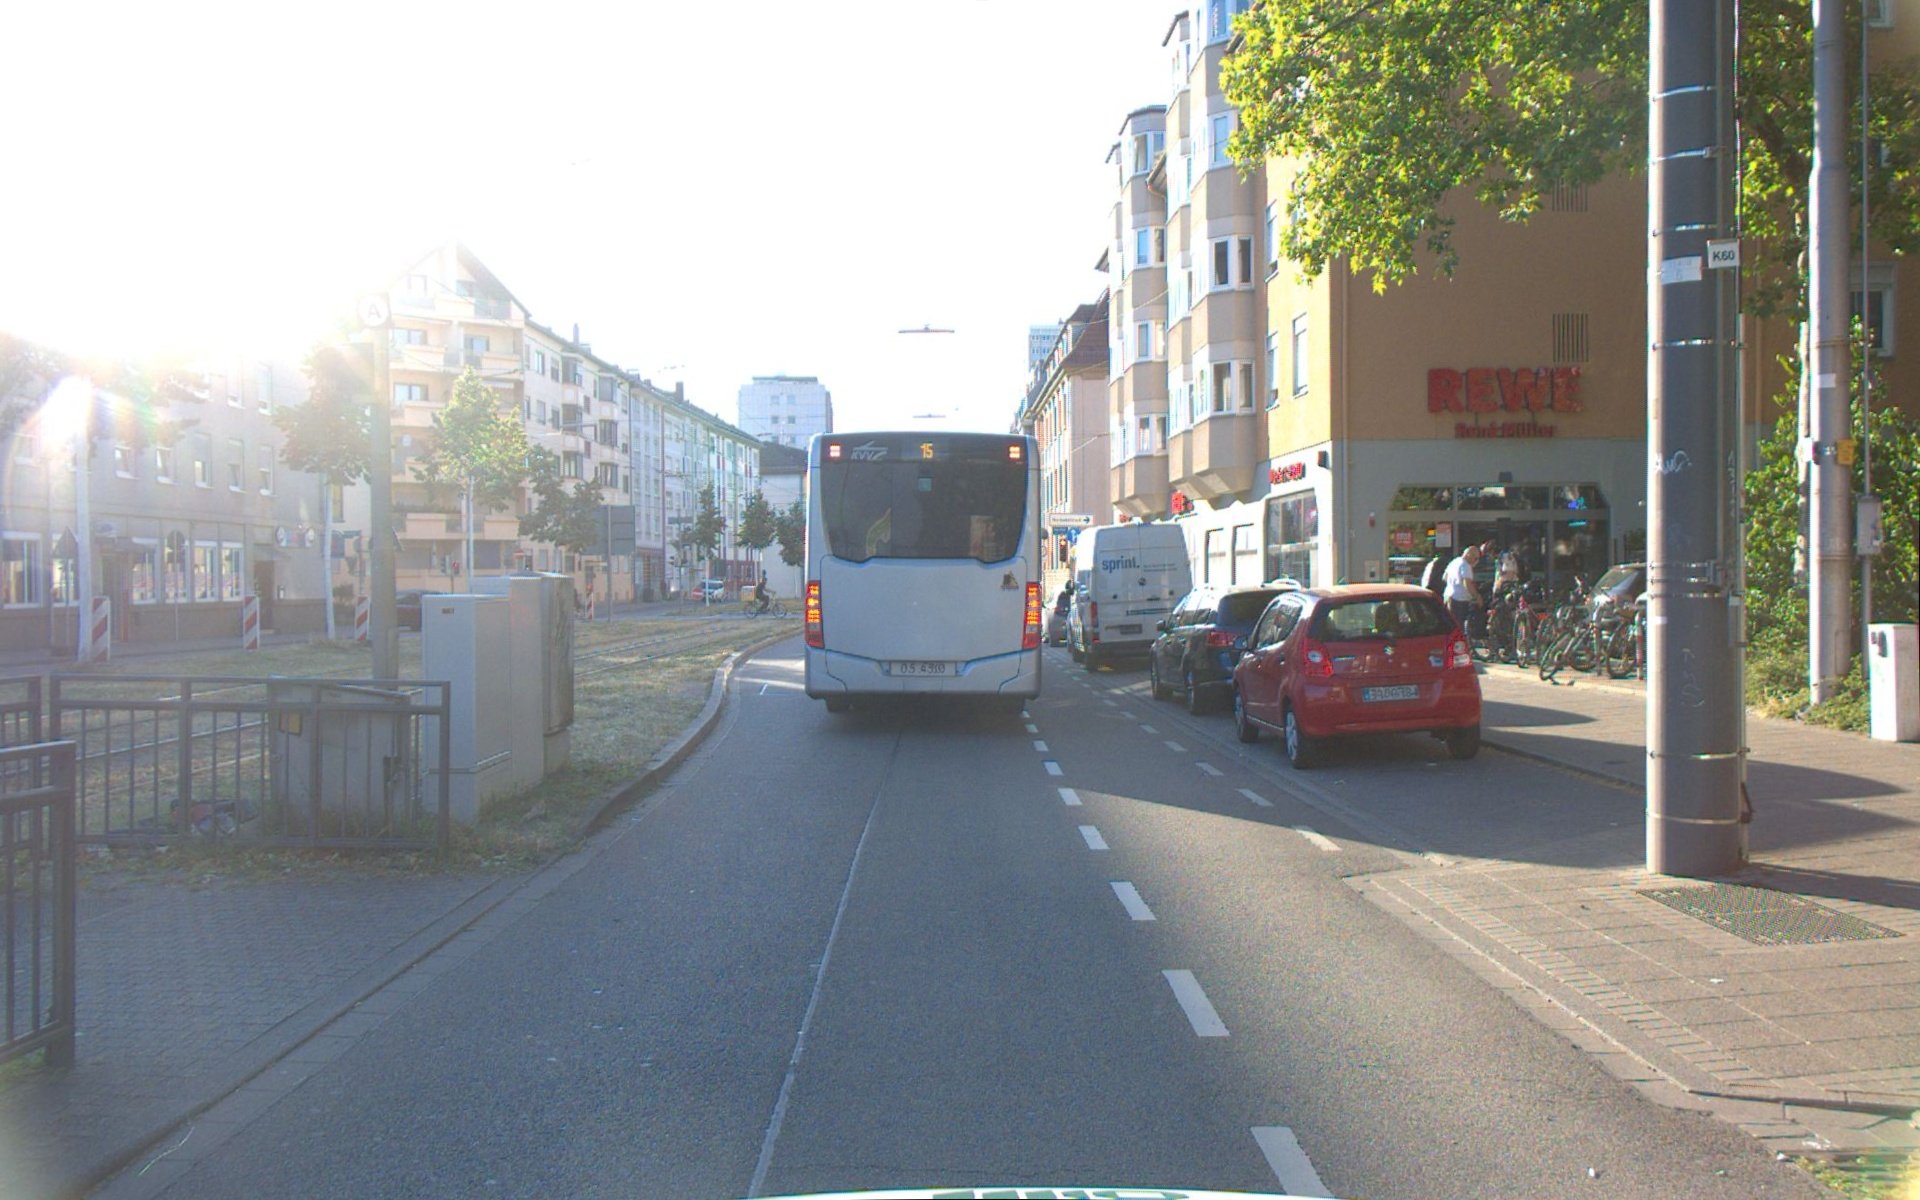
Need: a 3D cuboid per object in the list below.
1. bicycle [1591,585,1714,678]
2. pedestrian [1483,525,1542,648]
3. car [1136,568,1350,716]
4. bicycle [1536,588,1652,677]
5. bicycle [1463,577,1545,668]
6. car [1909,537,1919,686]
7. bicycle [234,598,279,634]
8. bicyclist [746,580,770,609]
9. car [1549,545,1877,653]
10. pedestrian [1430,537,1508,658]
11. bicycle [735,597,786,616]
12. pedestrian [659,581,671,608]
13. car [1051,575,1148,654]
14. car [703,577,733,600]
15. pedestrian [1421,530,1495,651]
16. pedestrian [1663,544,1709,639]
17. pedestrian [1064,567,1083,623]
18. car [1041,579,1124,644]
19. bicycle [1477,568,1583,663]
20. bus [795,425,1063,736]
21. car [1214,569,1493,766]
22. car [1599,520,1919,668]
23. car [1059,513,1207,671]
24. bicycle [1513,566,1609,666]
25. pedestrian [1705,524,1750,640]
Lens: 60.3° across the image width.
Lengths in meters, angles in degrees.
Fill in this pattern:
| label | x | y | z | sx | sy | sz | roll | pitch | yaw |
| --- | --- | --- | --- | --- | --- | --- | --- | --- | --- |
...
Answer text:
| label | x | y | z | sx | sy | sz | roll | pitch | yaw |
| --- | --- | --- | --- | --- | --- | --- | --- | --- | --- |
| bicycle | 8.248 | 0.359 | 19.679 | 1.663 | 1.031 | 0.642 | -2 | 1 | -39 |
| pedestrian | 8.419 | -0.215 | 25.225 | 0.518 | 1.812 | 0.649 | -4 | 1 | -8 |
| car | 3.419 | 0.452 | 20.836 | 1.663 | 1.557 | 4.650 | -3 | 1 | -2 |
| bicycle | 7.847 | 0.385 | 20.459 | 1.567 | 1.031 | 0.642 | -2 | 1 | -39 |
| bicycle | 7.738 | 0.304 | 23.500 | 1.507 | 1.248 | 0.397 | -1 | 0 | -41 |
| car | 11.448 | 0.191 | 16.052 | 3.427 | 1.508 | 1.773 | 2 | 1 | -2 |
| bicycle | -23.118 | 0.522 | 54.375 | 0.731 | 1.134 | 1.778 | -1 | 1 | -1 |
| bicyclist | -8.388 | -0.220 | 68.557 | 0.915 | 1.181 | 0.642 | -1 | 0 | -12 |
| car | 11.119 | 0.013 | 24.628 | 3.933 | 1.457 | 1.999 | -1 | -2 | -2 |
| pedestrian | 7.365 | -0.045 | 23.964 | 0.647 | 1.664 | 0.988 | -4 | 1 | -8 |
| bicycle | -8.276 | 0.277 | 68.575 | 2.027 | 0.745 | 0.760 | -1 | 0 | -12 |
| pedestrian | -22.245 | -0.425 | 124.541 | 0.771 | 2.049 | 0.890 | -1 | 0 | -4 |
| car | 3.043 | 0.286 | 36.770 | 1.801 | 1.615 | 3.785 | -1 | 1 | 0 |
| car | -19.937 | -0.973 | 136.405 | 1.774 | 1.829 | 4.245 | -1 | 1 | 0 |
| pedestrian | 7.663 | -0.152 | 25.481 | 0.790 | 1.782 | 0.768 | -4 | 1 | -1 |
| pedestrian | 12.319 | -0.150 | 28.057 | 0.630 | 1.595 | 0.417 | -1 | 0 | -31 |
| pedestrian | 3.714 | -0.154 | 54.060 | 0.536 | 1.815 | 0.449 | -1 | 0 | 0 |
| car | 3.119 | 0.265 | 42.832 | 1.801 | 1.563 | 4.229 | -1 | 1 | 0 |
| bicycle | 7.841 | 0.196 | 22.727 | 1.567 | 1.248 | 0.642 | -1 | 0 | -39 |
| bus | -0.348 | -0.241 | 21.176 | 2.683 | 3.109 | 8.853 | 1 | 1 | -1 |
| car | 3.459 | 0.529 | 15.176 | 1.538 | 1.520 | 3.625 | -3 | 1 | -2 |
| car | 11.095 | -0.058 | 21.815 | 4.525 | 1.738 | 1.999 | 2 | 0 | -2 |
| car | 3.159 | -0.163 | 31.465 | 1.976 | 2.595 | 5.784 | -4 | 1 | -1 |
| bicycle | 7.889 | 0.196 | 21.684 | 0.636 | 1.248 | 1.573 | -1 | 1 | 42 |
| pedestrian | 12.847 | -0.303 | 27.688 | 0.570 | 1.914 | 0.467 | -1 | 0 | -42 |
